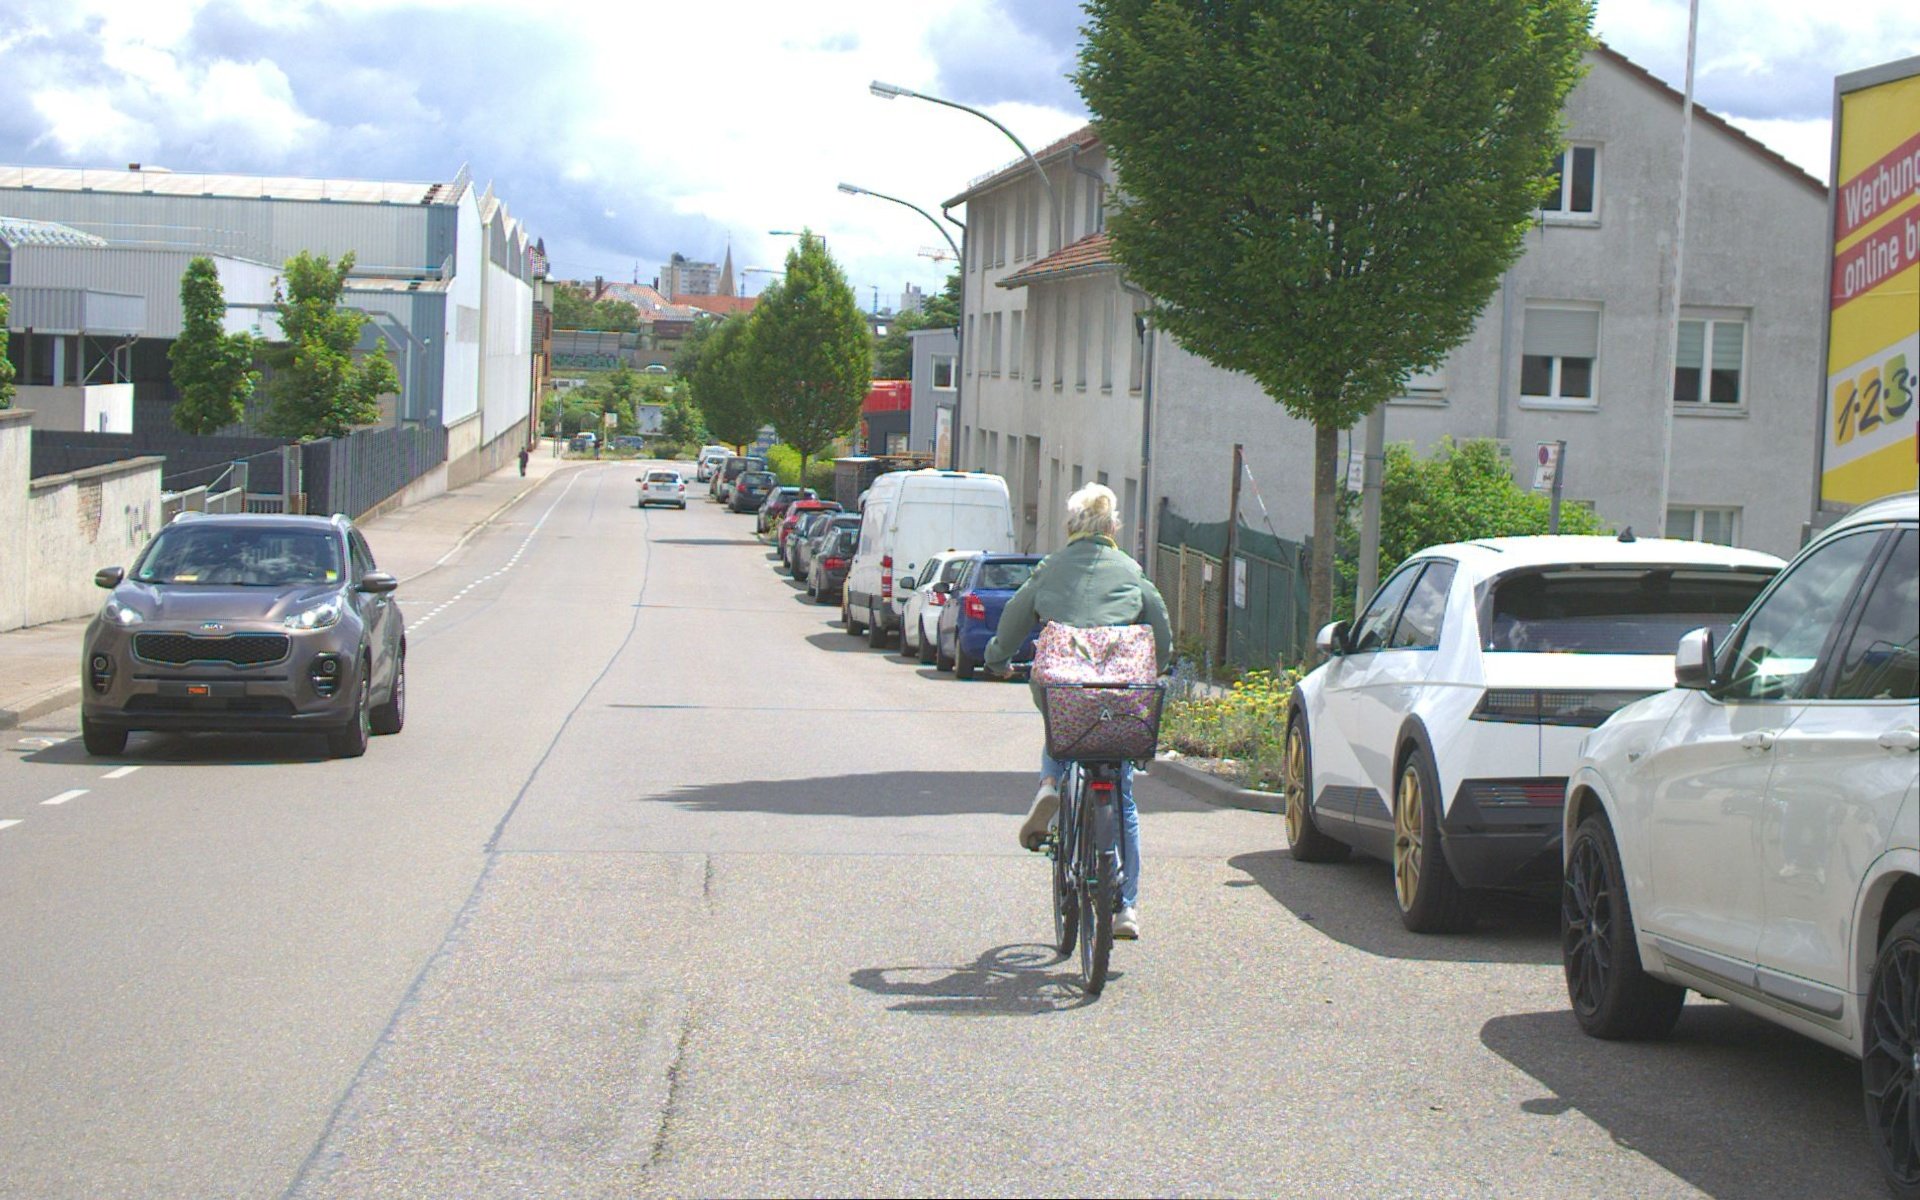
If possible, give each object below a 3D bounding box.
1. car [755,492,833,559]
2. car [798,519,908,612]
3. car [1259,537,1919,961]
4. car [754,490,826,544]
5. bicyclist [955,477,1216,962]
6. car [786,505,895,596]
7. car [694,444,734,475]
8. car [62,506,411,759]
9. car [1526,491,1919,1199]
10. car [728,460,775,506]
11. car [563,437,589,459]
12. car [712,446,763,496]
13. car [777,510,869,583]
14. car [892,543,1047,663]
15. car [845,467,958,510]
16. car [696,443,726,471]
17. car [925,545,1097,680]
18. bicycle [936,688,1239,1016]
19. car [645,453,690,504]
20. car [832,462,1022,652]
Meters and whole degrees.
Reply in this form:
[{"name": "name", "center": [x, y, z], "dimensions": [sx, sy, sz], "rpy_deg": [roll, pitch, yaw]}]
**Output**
[{"name": "car", "center": [-4.203, -1.895, 86.497], "dimensions": [1.734, 1.467, 4.263], "rpy_deg": [2, 3, -5]}, {"name": "car", "center": [-2.186, -0.716, 68.729], "dimensions": [1.704, 1.504, 5.089], "rpy_deg": [4, 3, -7]}, {"name": "car", "center": [2.532, 0.524, 14.927], "dimensions": [1.842, 1.560, 4.466], "rpy_deg": [0, 1, -3]}, {"name": "car", "center": [-5.085, -2.490, 102.486], "dimensions": [1.791, 1.460, 4.710], "rpy_deg": [2, 2, -7]}, {"name": "bicyclist", "center": [0.425, 0.402, 11.977], "dimensions": [0.739, 1.621, 0.732], "rpy_deg": [2, 0, -8]}, {"name": "car", "center": [-2.611, -1.089, 74.289], "dimensions": [1.676, 1.632, 4.798], "rpy_deg": [3, 3, -9]}, {"name": "car", "center": [-13.437, -7.699, 187.655], "dimensions": [1.701, 1.522, 3.739], "rpy_deg": [4, 2, -9]}, {"name": "car", "center": [-4.996, 0.178, 24.244], "dimensions": [1.799, 1.616, 4.093], "rpy_deg": [1, 1, -3]}, {"name": "car", "center": [2.896, 0.579, 9.131], "dimensions": [1.685, 1.653, 4.481], "rpy_deg": [1, 1, -5]}, {"name": "car", "center": [-7.839, -4.416, 129.029], "dimensions": [1.679, 1.632, 4.124], "rpy_deg": [2, 2, -4]}, {"name": "car", "center": [-28.343, -11.209, 253.721], "dimensions": [1.852, 1.481, 4.001], "rpy_deg": [2, 1, -6]}, {"name": "car", "center": [-9.328, -5.418, 143.773], "dimensions": [1.869, 1.983, 5.145], "rpy_deg": [2, 2, -6]}, {"name": "car", "center": [-3.206, -1.266, 79.842], "dimensions": [1.734, 1.418, 4.862], "rpy_deg": [3, 3, -6]}, {"name": "car", "center": [0.085, 0.007, 46.369], "dimensions": [1.592, 1.505, 3.791], "rpy_deg": [2, 1, -7]}, {"name": "car", "center": [-2.099, -3.987, 122.992], "dimensions": [1.720, 1.457, 4.073], "rpy_deg": [-4, 4, -44]}, {"name": "car", "center": [-14.362, -8.252, 198.394], "dimensions": [1.701, 1.522, 3.739], "rpy_deg": [2, 2, -4]}, {"name": "car", "center": [0.563, 0.118, 41.543], "dimensions": [1.566, 1.505, 4.095], "rpy_deg": [2, 1, -6]}, {"name": "bicycle", "center": [0.406, 0.836, 11.929], "dimensions": [0.740, 0.972, 1.733], "rpy_deg": [2, 1, -8]}, {"name": "car", "center": [-10.995, -4.548, 128.940], "dimensions": [1.566, 1.780, 3.606], "rpy_deg": [2, 1, -6]}, {"name": "car", "center": [-0.604, -0.660, 52.516], "dimensions": [2.033, 2.632, 7.285], "rpy_deg": [2, 1, -7]}]
